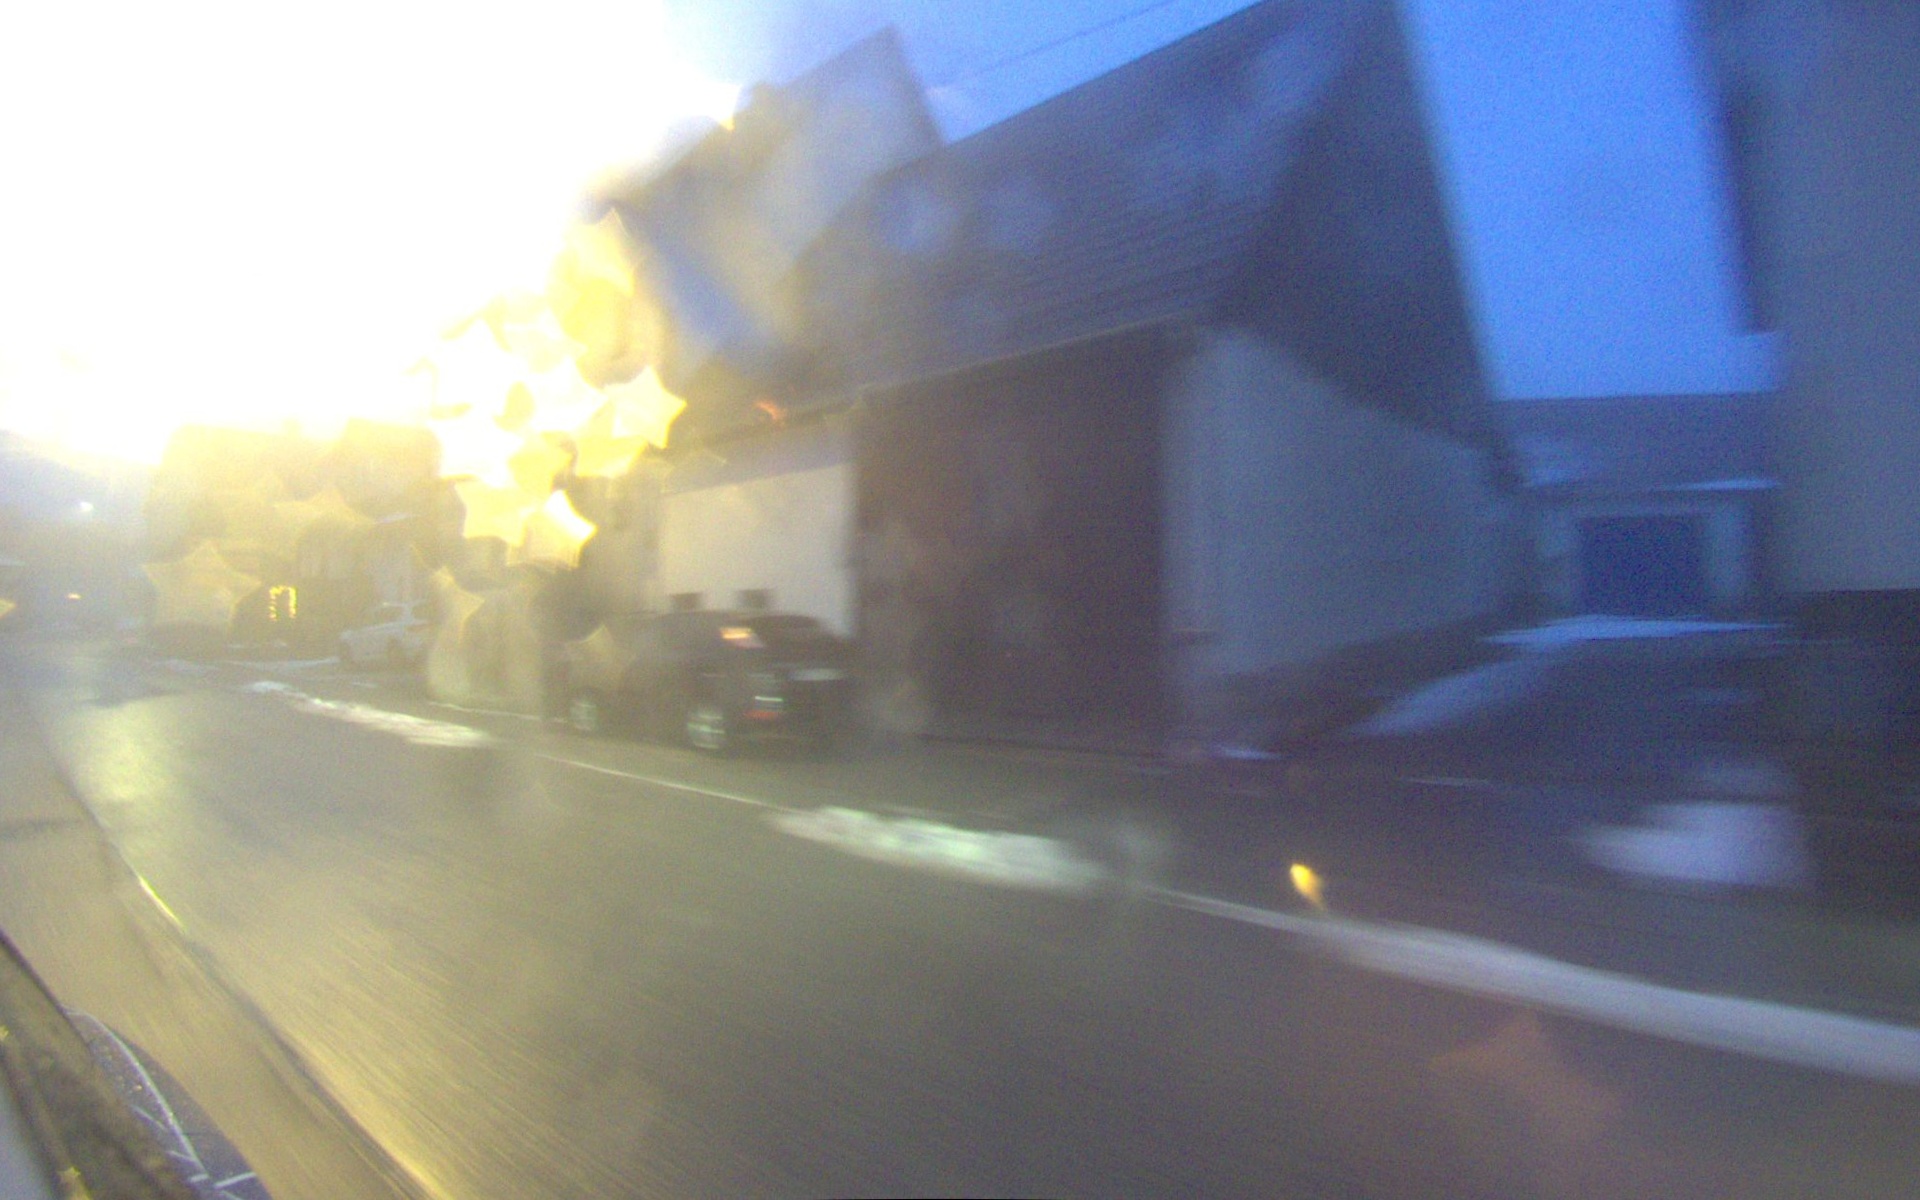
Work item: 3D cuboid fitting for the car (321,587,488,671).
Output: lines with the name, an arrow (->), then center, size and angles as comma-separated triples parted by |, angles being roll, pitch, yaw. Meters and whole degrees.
car -> -13.872, 0.758, 25.161 | 4.630, 1.749, 1.749 | -4, 2, 36

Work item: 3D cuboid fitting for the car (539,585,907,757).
car -> -2.793, 0.709, 11.396 | 4.189, 1.534, 1.972 | -3, 0, 42
